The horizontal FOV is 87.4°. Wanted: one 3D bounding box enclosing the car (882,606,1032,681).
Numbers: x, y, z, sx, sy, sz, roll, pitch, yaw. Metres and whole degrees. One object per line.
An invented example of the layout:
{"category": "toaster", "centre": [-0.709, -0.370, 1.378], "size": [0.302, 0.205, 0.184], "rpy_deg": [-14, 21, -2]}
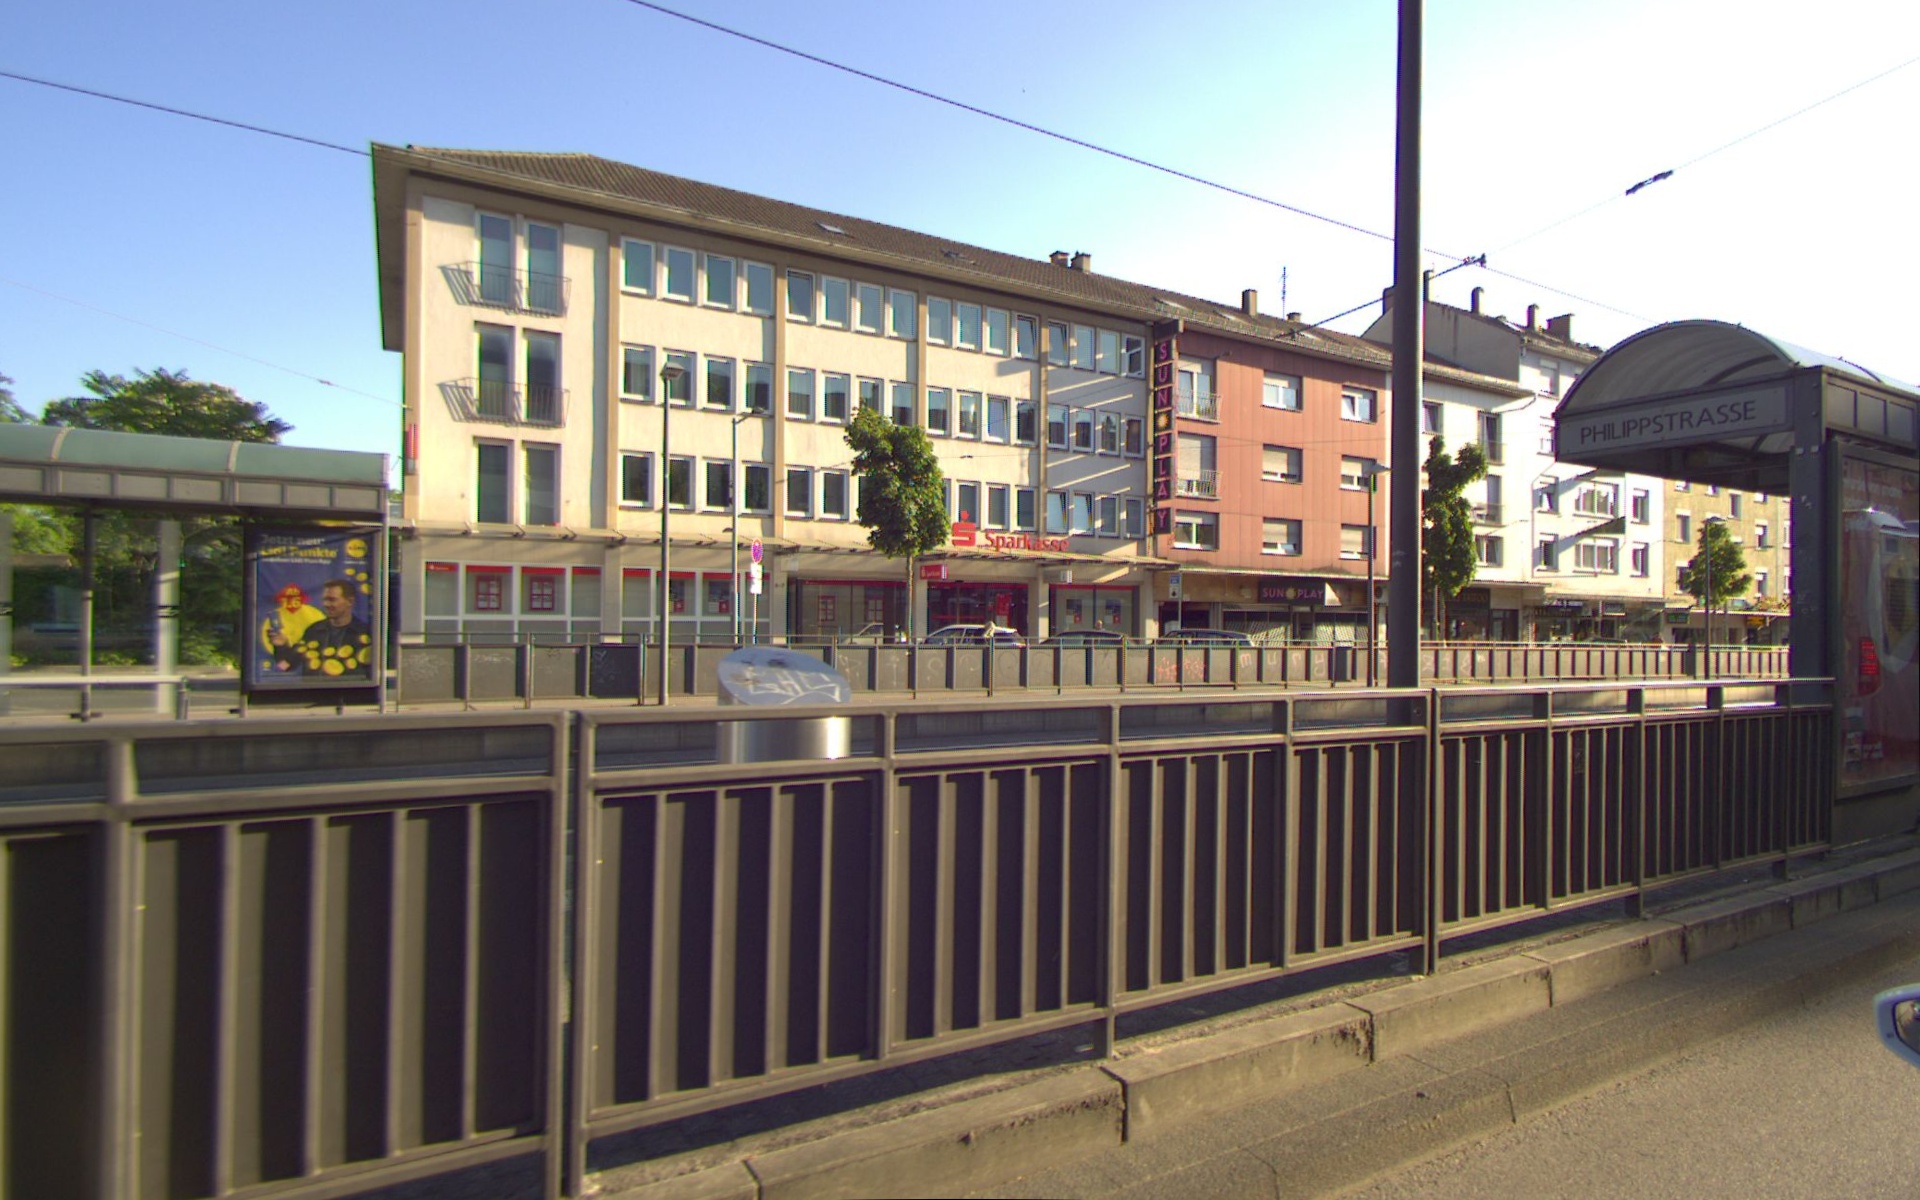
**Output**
{"category": "car", "centre": [-0.051, 1.075, 25.672], "size": [3.440, 1.702, 1.772], "rpy_deg": [2, 0, 15]}

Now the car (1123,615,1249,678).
{"category": "car", "centre": [6.580, 1.330, 29.231], "size": [3.440, 1.702, 1.772], "rpy_deg": [1, -1, 15]}
